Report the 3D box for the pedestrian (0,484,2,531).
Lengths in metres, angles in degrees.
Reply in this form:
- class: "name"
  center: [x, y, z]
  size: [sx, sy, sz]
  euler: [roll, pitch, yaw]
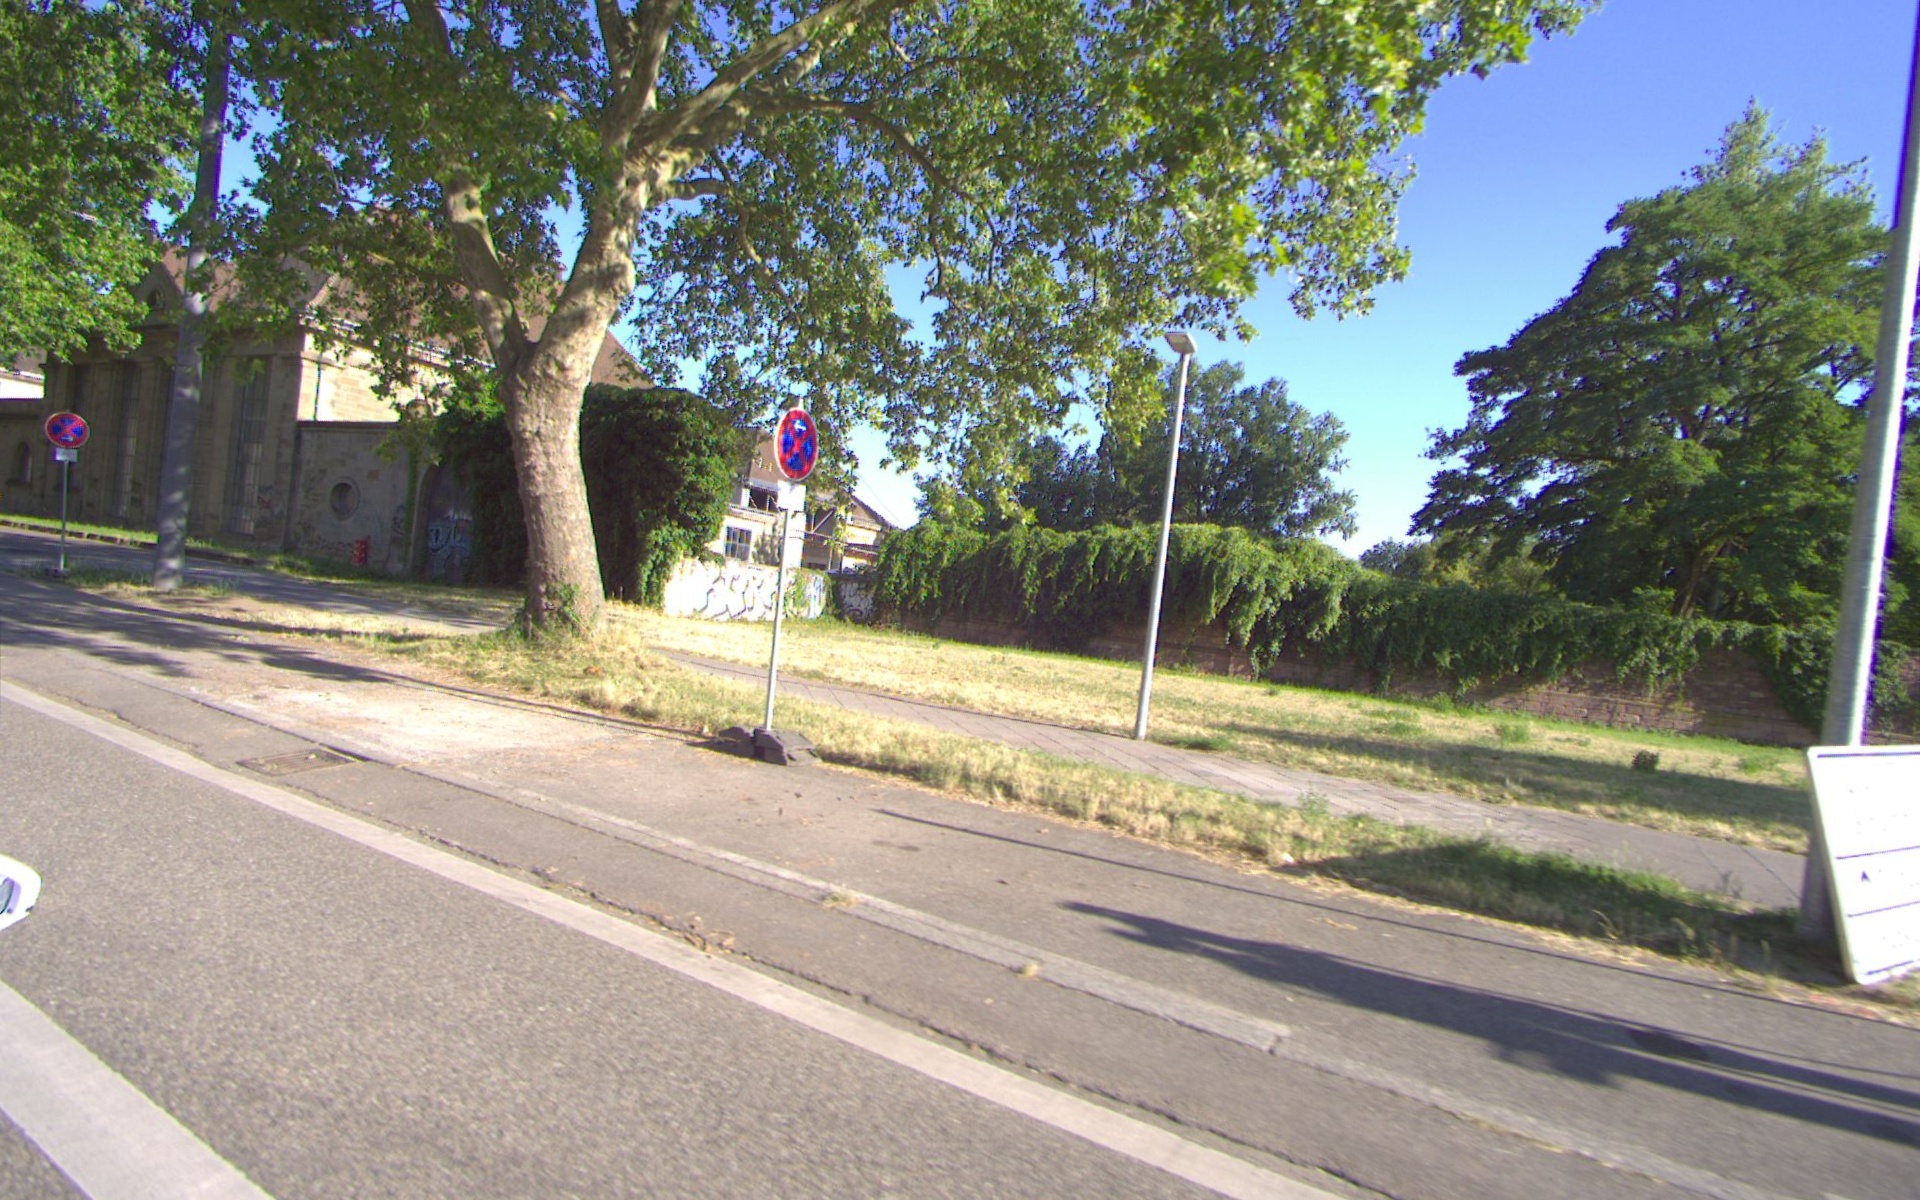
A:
- class: "pedestrian"
  center: [-35.674, -3.432, 36.902]
  size: [0.625, 1.706, 0.608]
  euler: [7, 5, 28]
